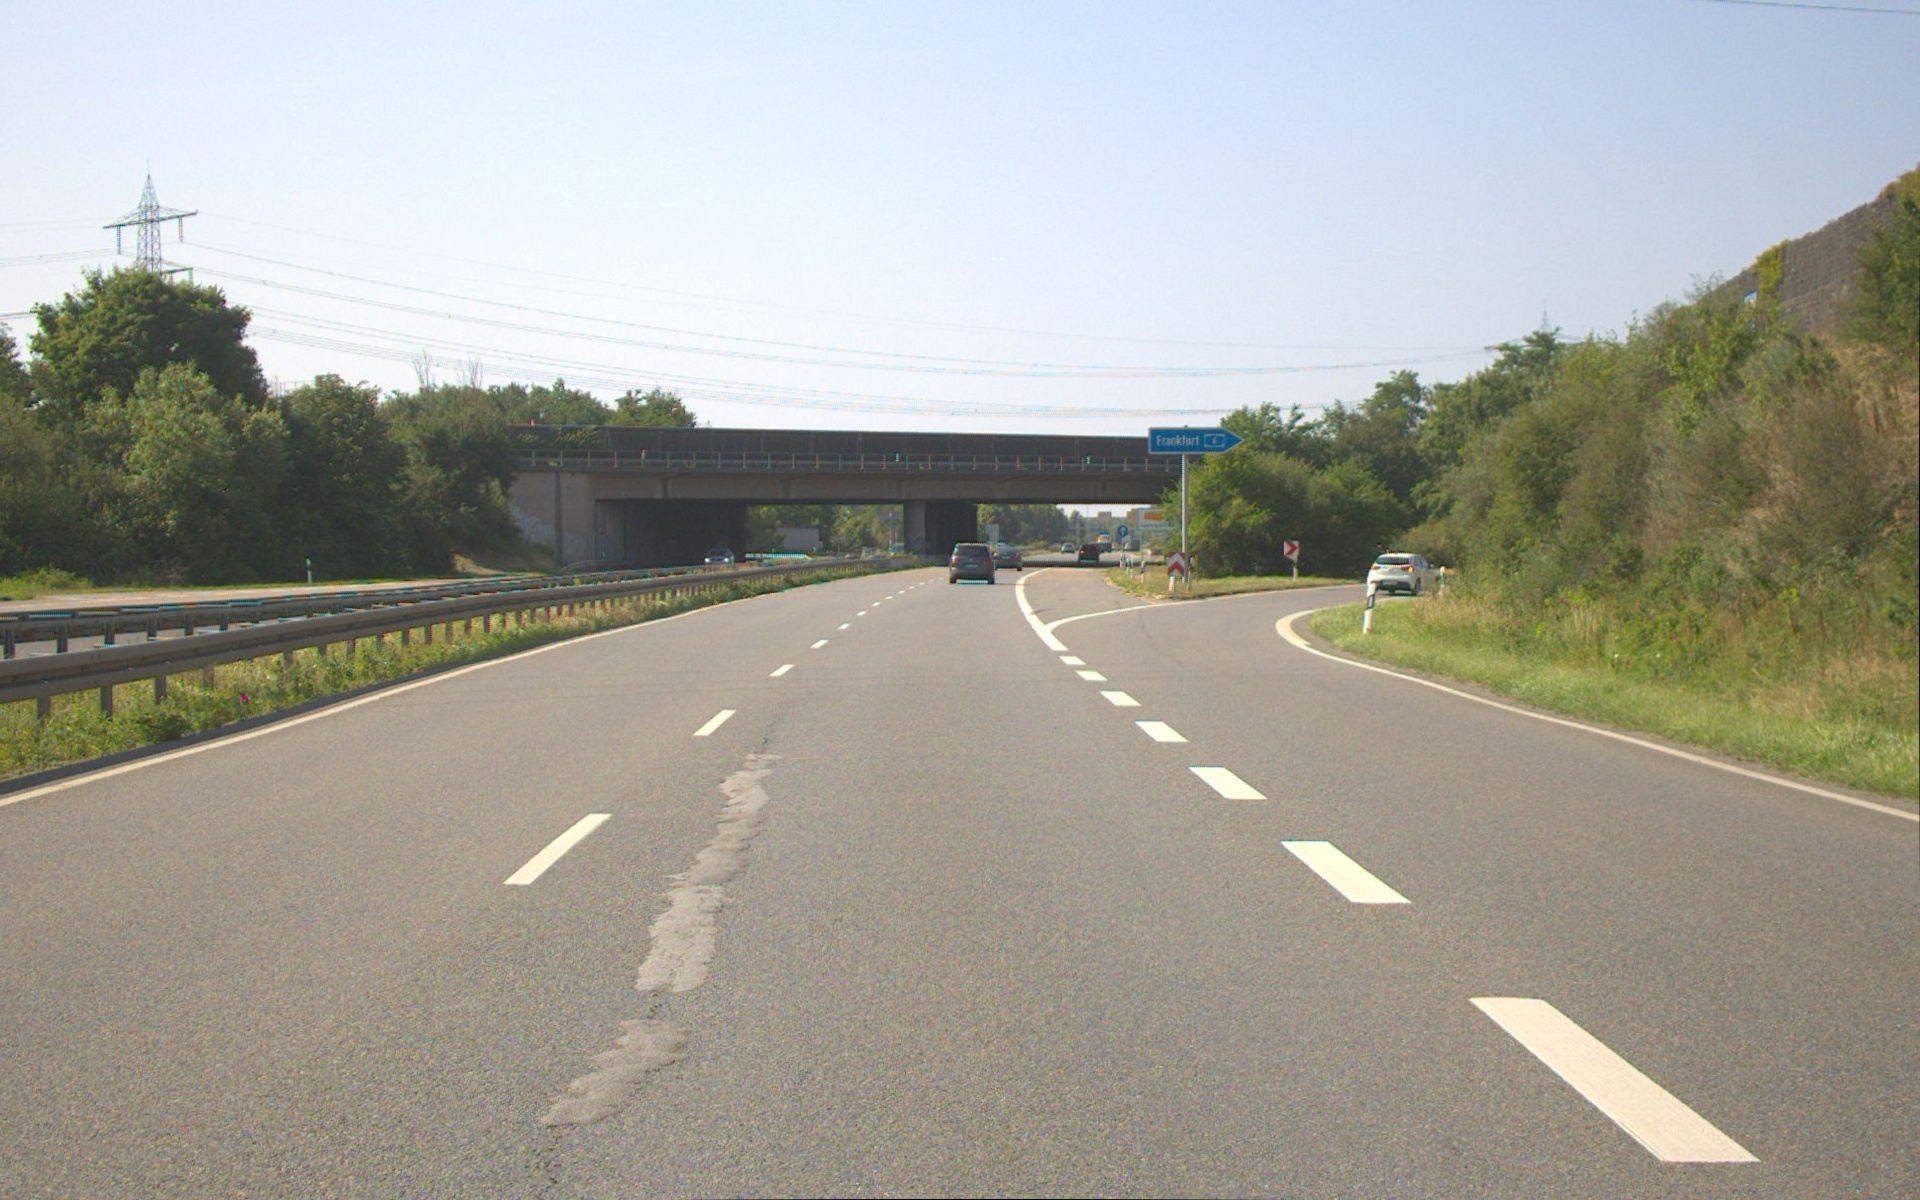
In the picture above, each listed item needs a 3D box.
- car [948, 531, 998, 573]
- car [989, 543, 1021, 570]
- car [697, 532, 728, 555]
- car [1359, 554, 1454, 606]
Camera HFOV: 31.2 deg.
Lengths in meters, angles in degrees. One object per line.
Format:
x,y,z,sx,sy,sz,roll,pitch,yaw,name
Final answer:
0.536,-1.945,138.372,1.850,1.639,4.000,1,1,2,car
2.770,-2.658,209.457,1.850,1.639,4.000,1,1,2,car
-16.152,-3.690,224.490,1.675,1.405,3.763,2,1,1,car
15.595,-0.692,119.979,1.799,1.659,3.993,4,2,30,car
